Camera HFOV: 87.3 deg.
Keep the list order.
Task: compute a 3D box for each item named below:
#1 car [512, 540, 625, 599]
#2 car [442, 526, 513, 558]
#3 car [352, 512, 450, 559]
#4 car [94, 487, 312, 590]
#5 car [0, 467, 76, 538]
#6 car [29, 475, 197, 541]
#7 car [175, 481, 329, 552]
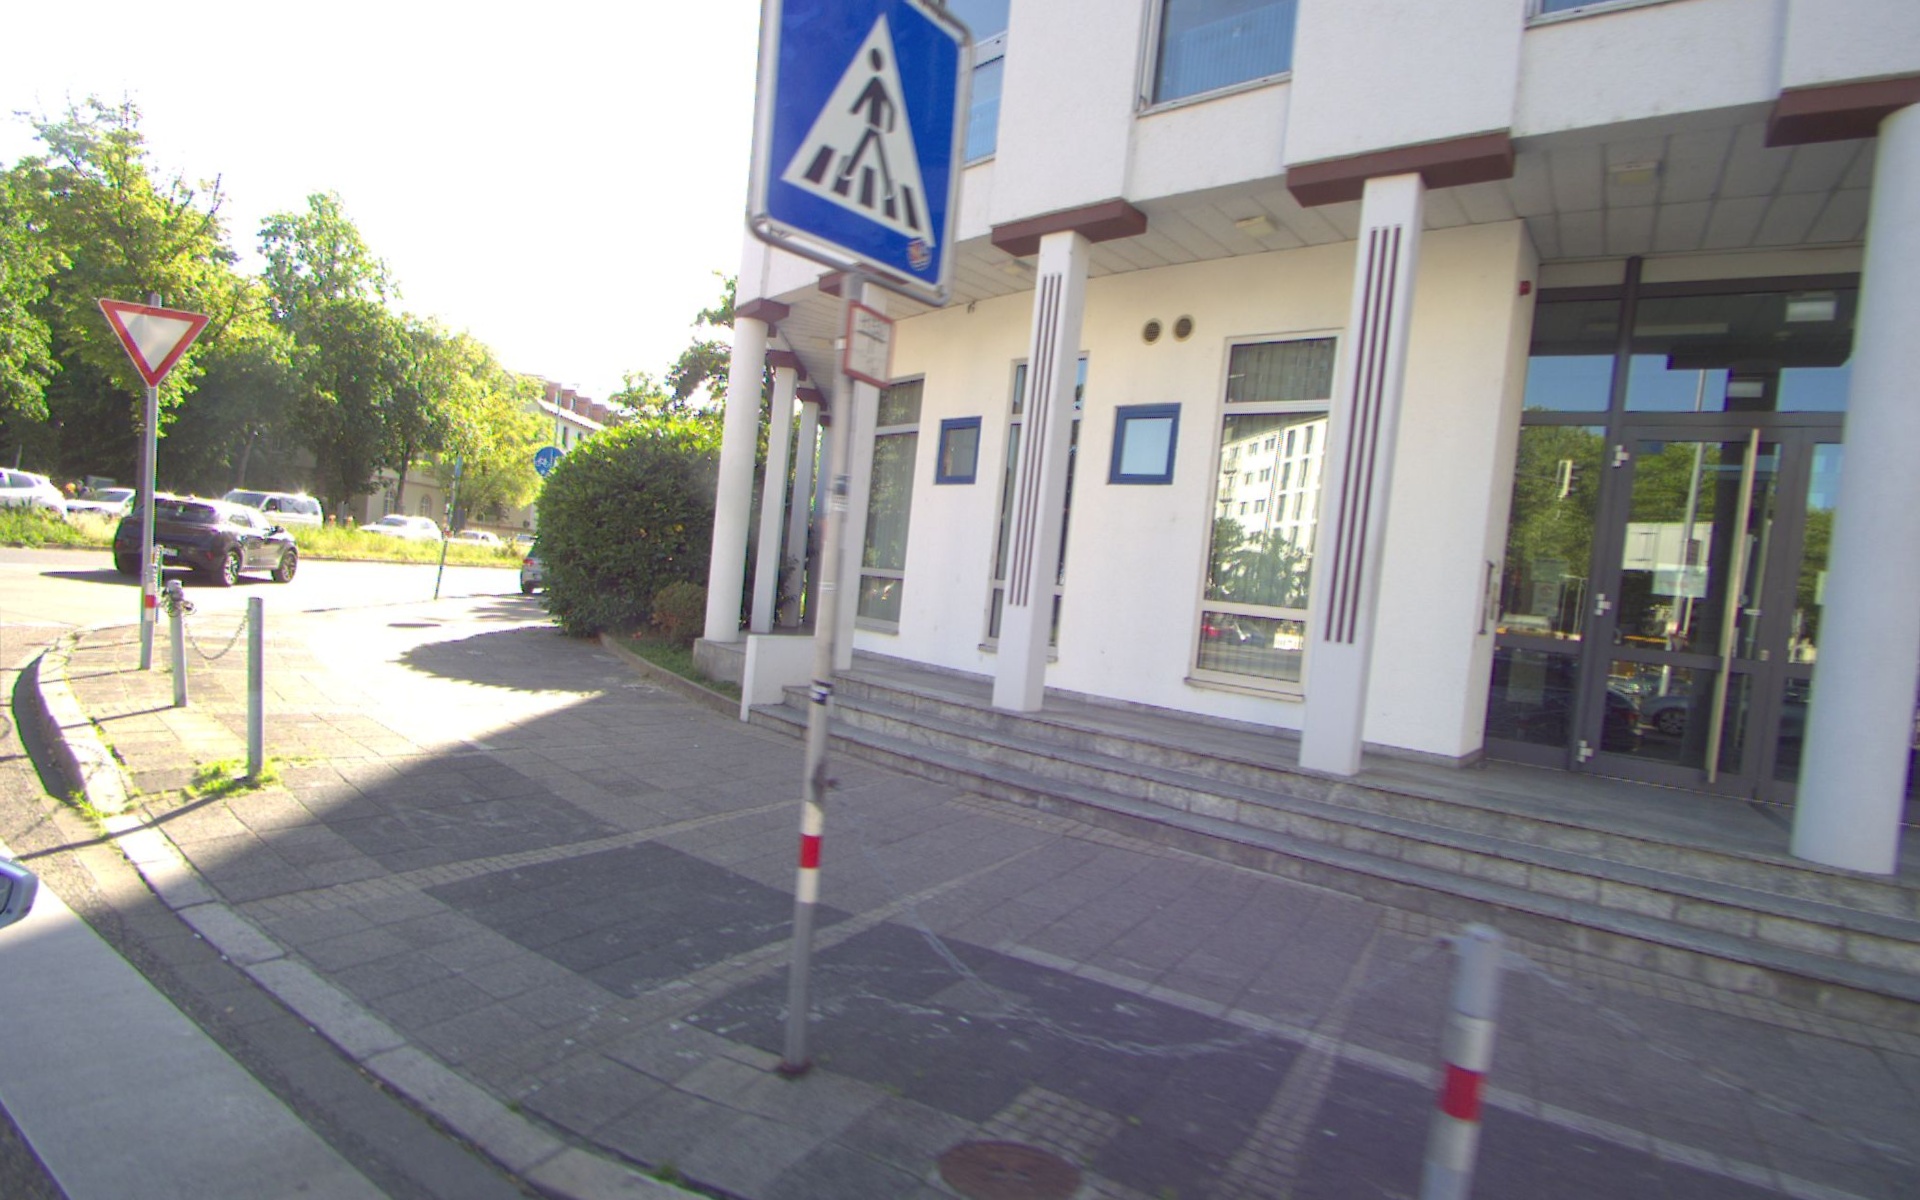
[{"bbox_3d":[-11.608,-0.927,30.116,1.612,1.468,4.150,6,2,0],"label":"car"},{"bbox_3d":[-26.493,-3.137,55.374,1.768,1.369,4.255,7,1,-1],"label":"car"},{"bbox_3d":[-26.652,-3.030,48.169,1.768,1.765,5.029,6,1,-1],"label":"car"},{"bbox_3d":[-14.617,-1.169,19.739,1.872,1.538,3.986,8,1,-14],"label":"car"},{"bbox_3d":[-23.221,-2.414,23.267,1.768,1.538,4.202,6,1,-1],"label":"car"},{"bbox_3d":[-26.558,-2.844,31.748,1.768,1.538,4.077,7,1,-1],"label":"car"},{"bbox_3d":[-26.866,-3.103,38.437,2.199,2.054,5.014,7,1,-1],"label":"car"}]
